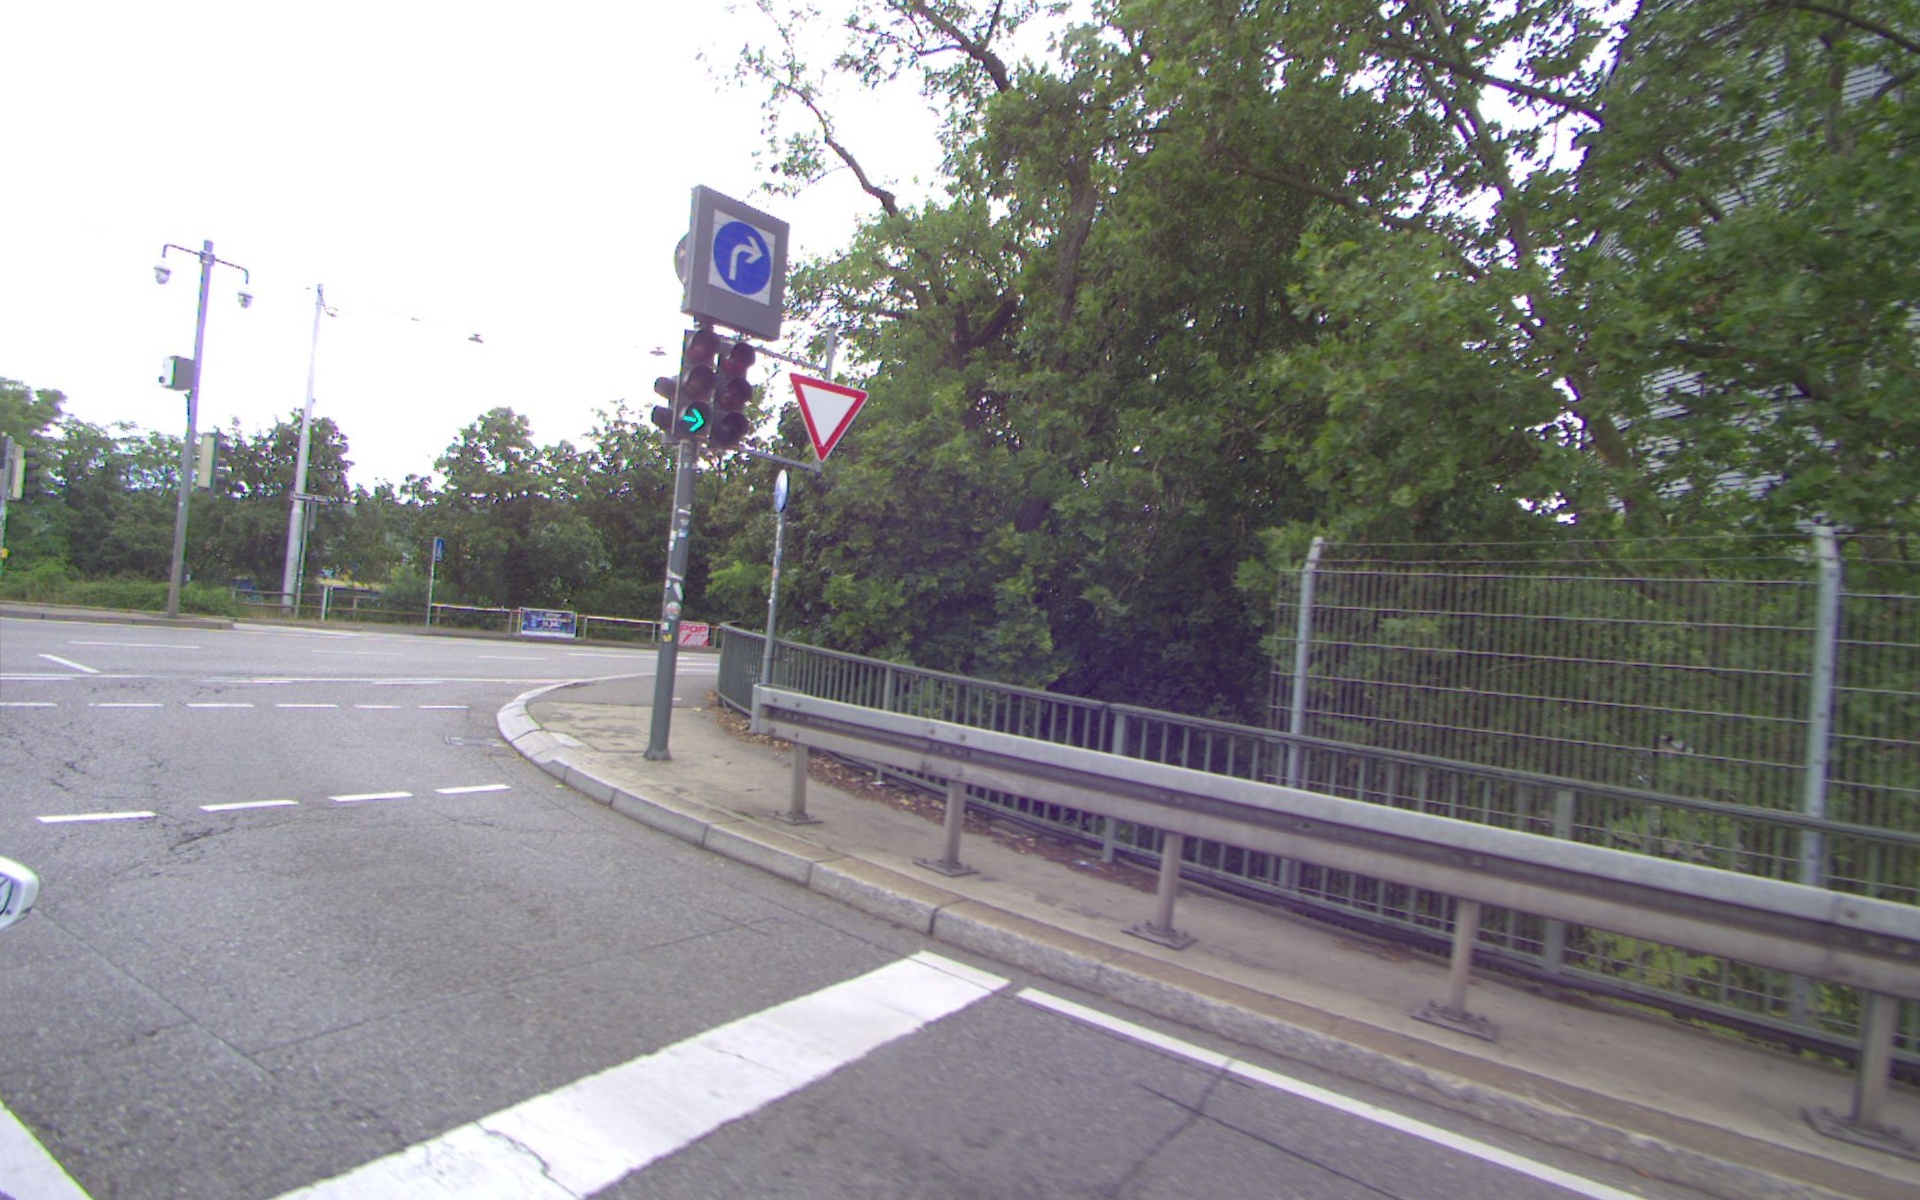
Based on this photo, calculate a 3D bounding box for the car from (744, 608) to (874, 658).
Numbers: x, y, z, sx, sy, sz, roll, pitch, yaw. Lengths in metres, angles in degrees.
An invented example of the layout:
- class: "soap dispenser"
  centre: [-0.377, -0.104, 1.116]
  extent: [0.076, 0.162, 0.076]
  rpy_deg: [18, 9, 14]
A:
- class: "car"
  centre: [-5.117, 1.185, 34.695]
  extent: [1.904, 1.437, 4.441]
  rpy_deg: [3, -2, 33]
